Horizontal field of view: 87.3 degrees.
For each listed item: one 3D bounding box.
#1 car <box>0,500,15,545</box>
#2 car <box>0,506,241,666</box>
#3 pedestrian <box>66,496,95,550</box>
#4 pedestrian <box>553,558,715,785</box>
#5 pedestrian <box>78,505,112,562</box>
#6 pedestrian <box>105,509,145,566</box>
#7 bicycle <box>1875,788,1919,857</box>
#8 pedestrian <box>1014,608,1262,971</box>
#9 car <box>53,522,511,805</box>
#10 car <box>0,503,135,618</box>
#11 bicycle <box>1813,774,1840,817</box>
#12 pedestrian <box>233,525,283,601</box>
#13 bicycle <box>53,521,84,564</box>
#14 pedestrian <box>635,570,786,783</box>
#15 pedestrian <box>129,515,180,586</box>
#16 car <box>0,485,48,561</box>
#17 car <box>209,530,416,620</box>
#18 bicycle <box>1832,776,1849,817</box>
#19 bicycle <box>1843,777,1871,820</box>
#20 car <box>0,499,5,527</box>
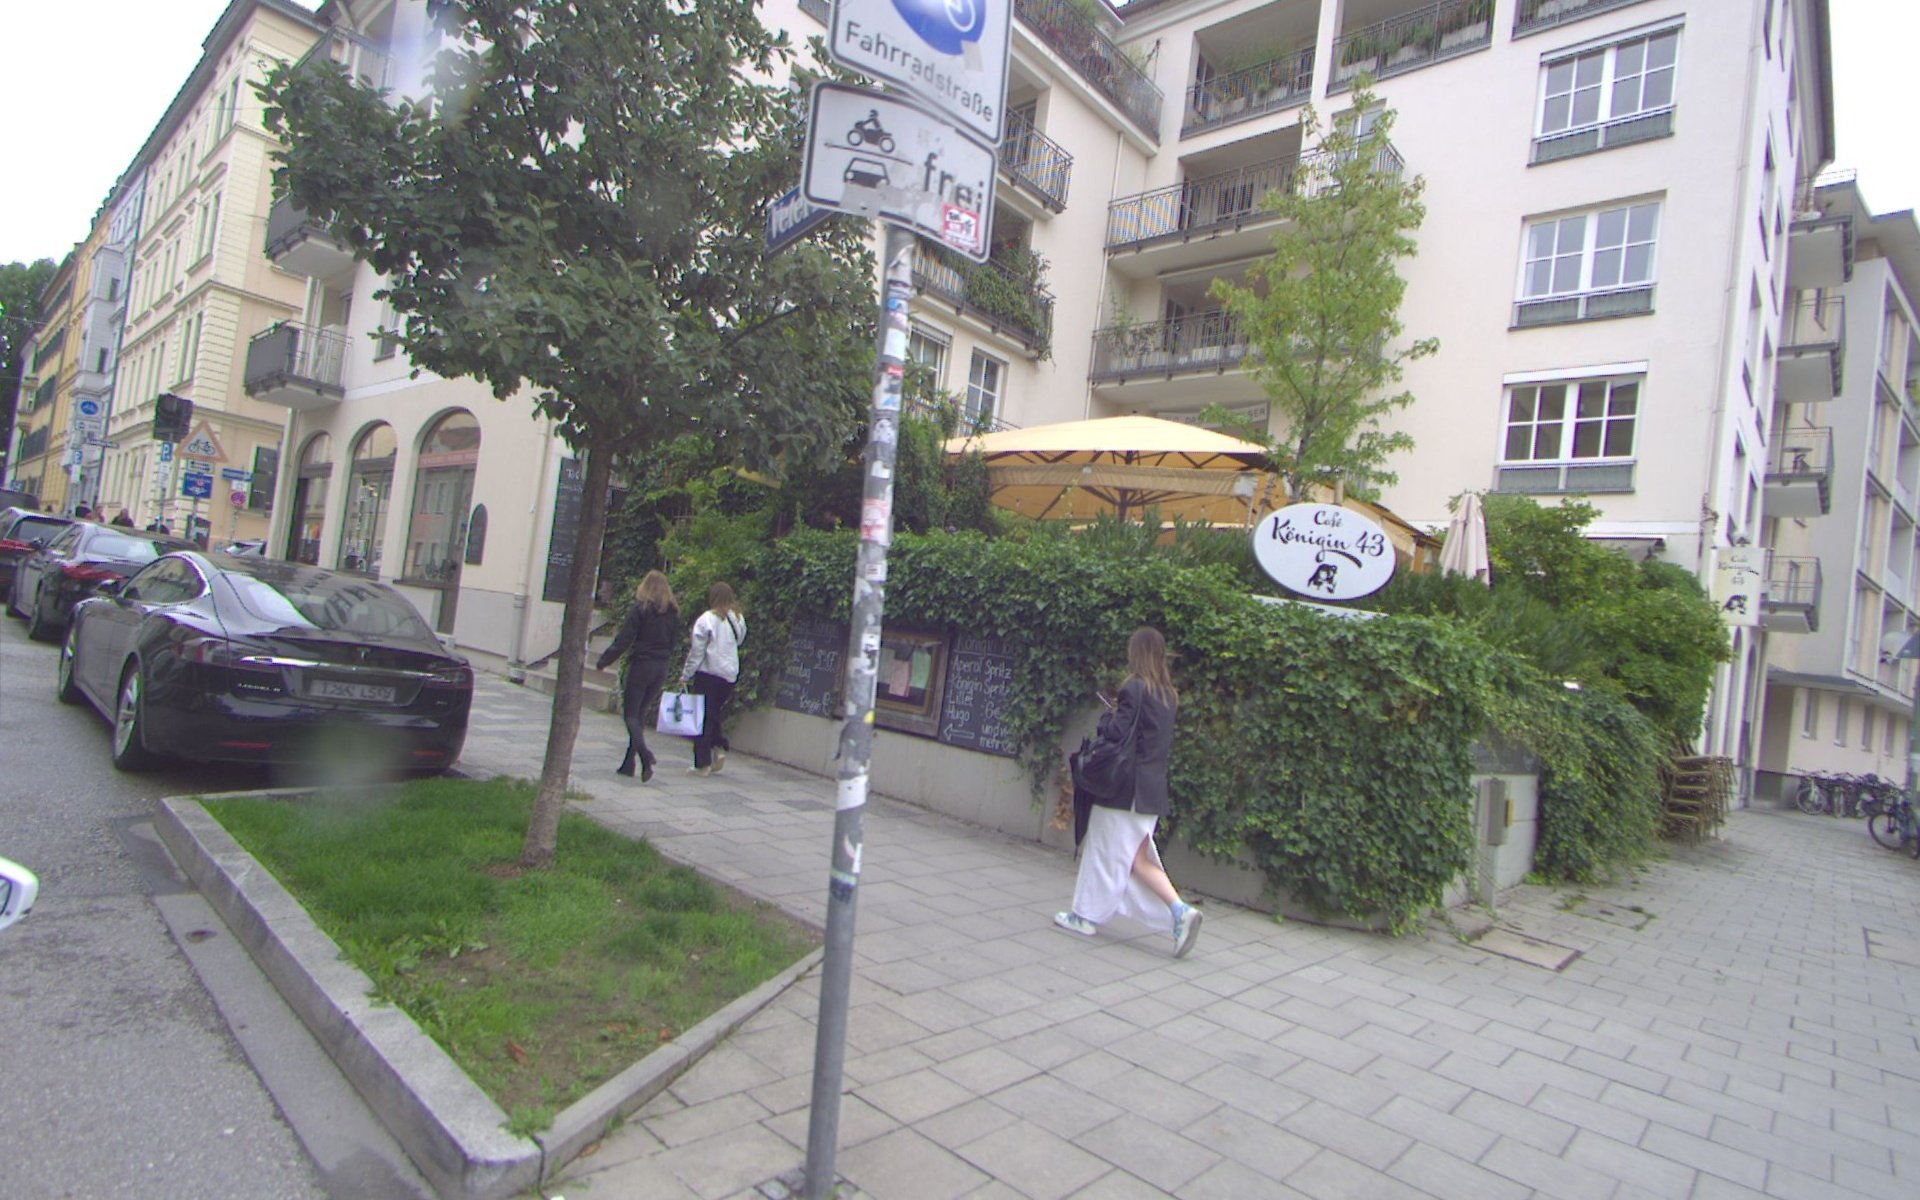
[{"bbox_3d":[-35.609,-2.948,36.335,4.218,1.537,1.753,5,-4,43],"label":"car"},{"bbox_3d":[-10.924,-0.246,12.927,4.447,1.439,1.647,7,-5,42],"label":"car"},{"bbox_3d":[-34.423,-2.992,39.365,0.699,2.005,0.667,5,0,44],"label":"pedestrian"},{"bbox_3d":[-2.609,0.566,8.056,0.868,1.680,0.704,5,-3,42],"label":"pedestrian"},{"bbox_3d":[-26.215,-2.026,30.484,1.055,1.643,0.471,5,-3,42],"label":"pedestrian"},{"bbox_3d":[-25.764,-1.928,31.050,0.966,1.638,0.658,5,-3,42],"label":"pedestrian"},{"bbox_3d":[17.093,4.025,18.341,0.480,1.065,2.174,8,-2,42],"label":"bicycle"},{"bbox_3d":[0.924,0.923,5.230,0.868,1.640,0.704,5,-3,42],"label":"pedestrian"},{"bbox_3d":[-5.408,0.357,7.718,4.594,1.426,1.802,6,-4,43],"label":"car"},{"bbox_3d":[-15.129,-0.751,16.468,4.144,1.439,1.677,7,-5,41],"label":"car"},{"bbox_3d":[23.989,5.383,27.830,0.431,1.065,1.958,8,-2,42],"label":"bicycle"},{"bbox_3d":[-16.382,-0.851,23.488,0.519,1.665,0.635,5,-3,35],"label":"pedestrian"},{"bbox_3d":[-25.560,-1.653,28.827,1.706,1.066,0.464,9,2,44],"label":"bicycle"},{"bbox_3d":[-2.133,0.645,8.603,0.868,1.680,0.704,5,-3,42],"label":"pedestrian"},{"bbox_3d":[-21.056,-1.288,26.289,0.990,1.736,0.718,5,-3,42],"label":"pedestrian"},{"bbox_3d":[-27.785,-2.333,28.815,5.185,1.884,1.995,6,-4,45],"label":"car"},{"bbox_3d":[-16.751,-0.611,26.166,1.730,1.623,4.087,9,-1,41],"label":"car"},{"bbox_3d":[24.580,5.473,28.079,0.246,1.065,1.958,8,-2,42],"label":"bicycle"},{"bbox_3d":[24.856,5.487,27.881,0.457,1.065,1.834,8,-2,42],"label":"bicycle"},{"bbox_3d":[-39.577,-3.398,40.129,4.408,1.601,1.741,5,-4,44],"label":"car"}]
